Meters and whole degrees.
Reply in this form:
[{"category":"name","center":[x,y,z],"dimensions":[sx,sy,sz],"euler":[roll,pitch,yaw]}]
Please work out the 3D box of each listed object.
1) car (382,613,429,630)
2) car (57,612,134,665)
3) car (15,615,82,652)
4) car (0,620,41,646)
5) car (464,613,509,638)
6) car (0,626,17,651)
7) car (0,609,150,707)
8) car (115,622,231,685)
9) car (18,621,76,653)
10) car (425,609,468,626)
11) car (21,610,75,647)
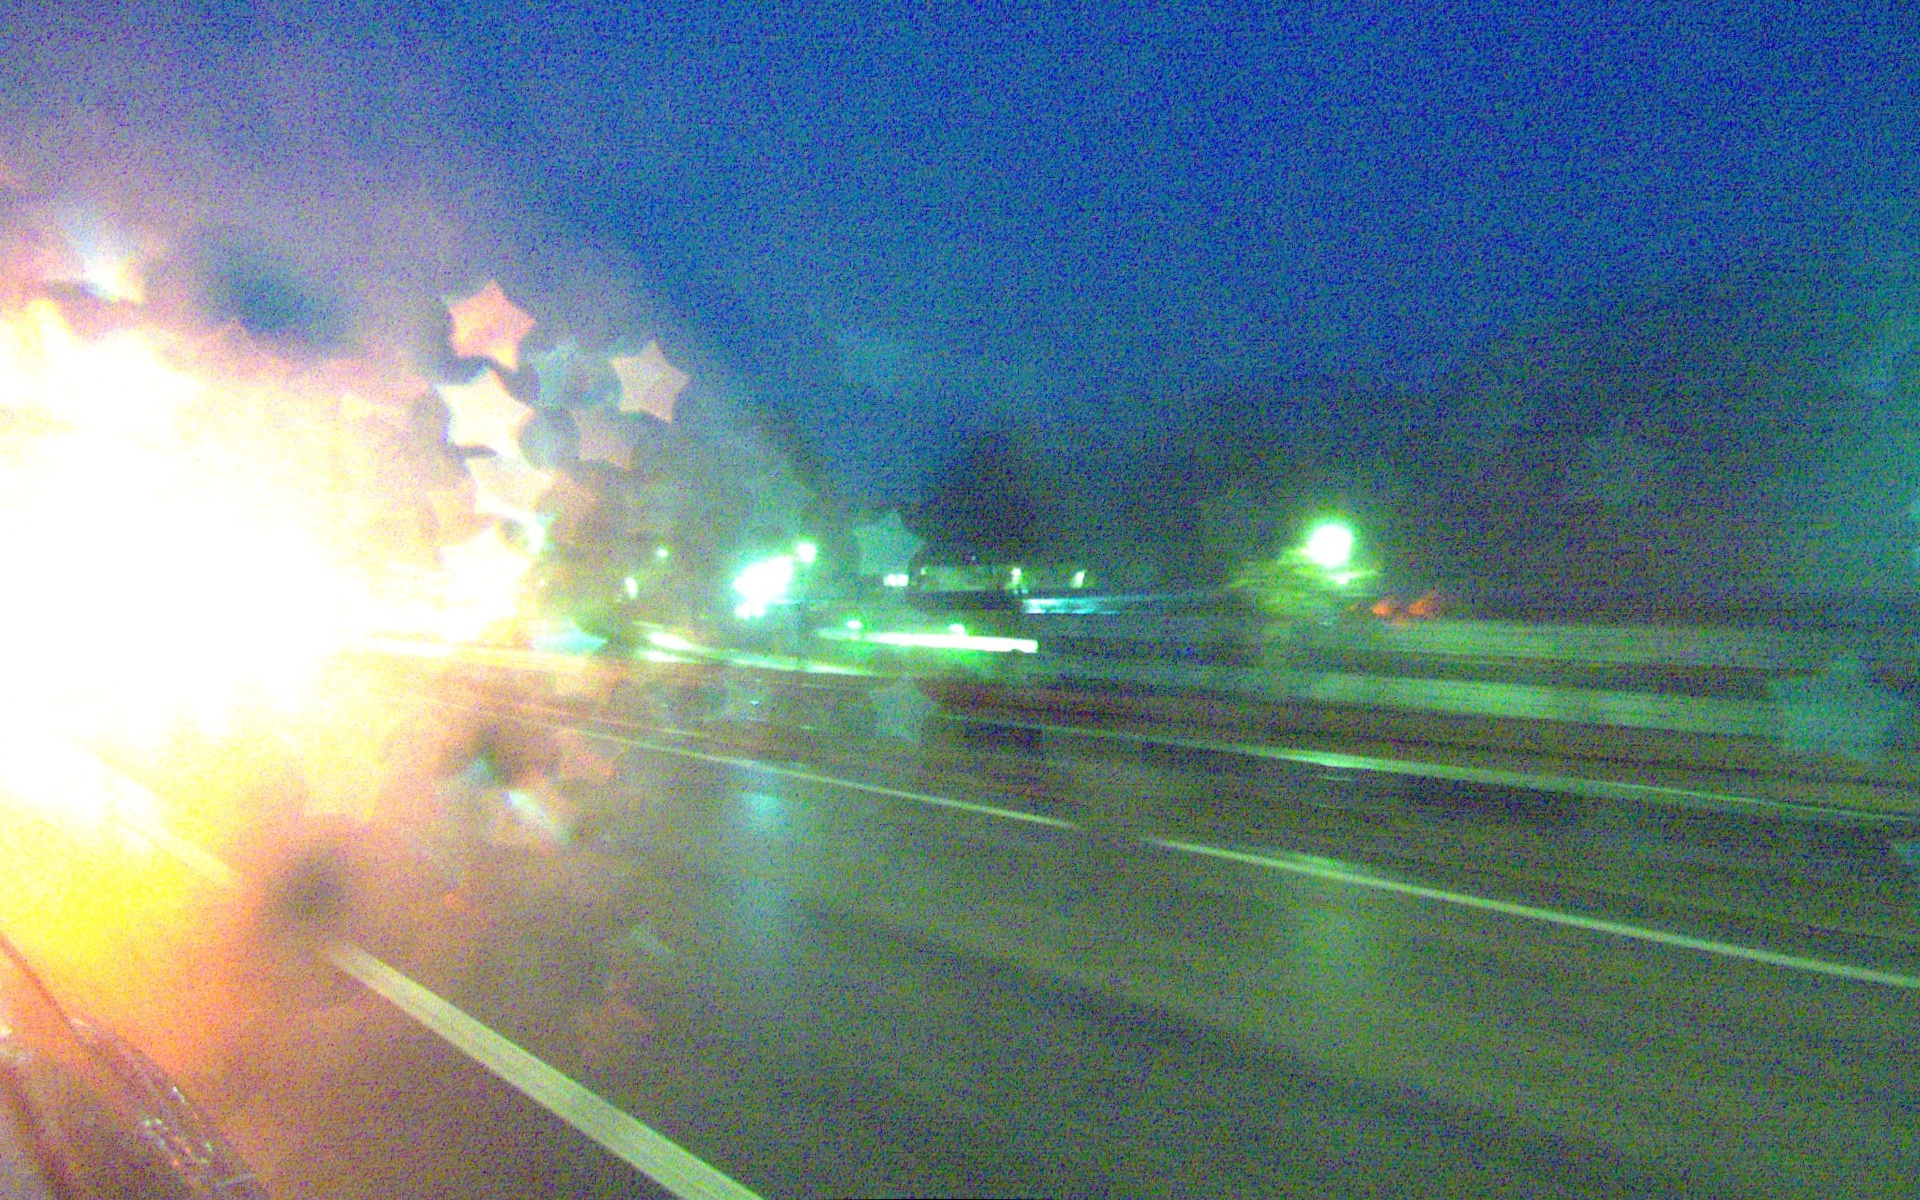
[{"category":"car","center":[-56.518,2.162,103.116],"dimensions":[3.962,1.603,1.991],"euler":[-1,0,15]},{"category":"car","center":[-33.021,1.413,38.606],"dimensions":[1.970,1.879,5.324],"euler":[0,-1,-44]},{"category":"car","center":[-40.052,1.444,44.417],"dimensions":[2.059,1.554,4.902],"euler":[0,-1,-44]},{"category":"car","center":[-60.291,2.092,64.922],"dimensions":[1.943,1.540,3.691],"euler":[0,-1,-43]},{"category":"car","center":[-44.924,2.387,96.020],"dimensions":[1.971,2.325,6.025],"euler":[0,-1,-45]},{"category":"car","center":[-69.654,2.765,73.270],"dimensions":[1.970,1.760,4.502],"euler":[0,-1,-44]},{"category":"car","center":[-16.921,1.021,19.120],"dimensions":[4.084,1.627,1.903],"euler":[-1,-1,42]},{"category":"car","center":[-19.627,1.255,25.150],"dimensions":[1.782,1.393,4.775],"euler":[0,-1,-44]},{"category":"car","center":[-48.448,1.942,53.685],"dimensions":[2.156,1.570,5.208],"euler":[0,-1,-44]},{"category":"car","center":[-51.244,1.744,100.910],"dimensions":[4.434,1.706,1.831],"euler":[-1,-1,33]},{"category":"car","center":[-53.350,1.663,59.161],"dimensions":[2.129,2.029,4.998],"euler":[0,-1,-45]}]
